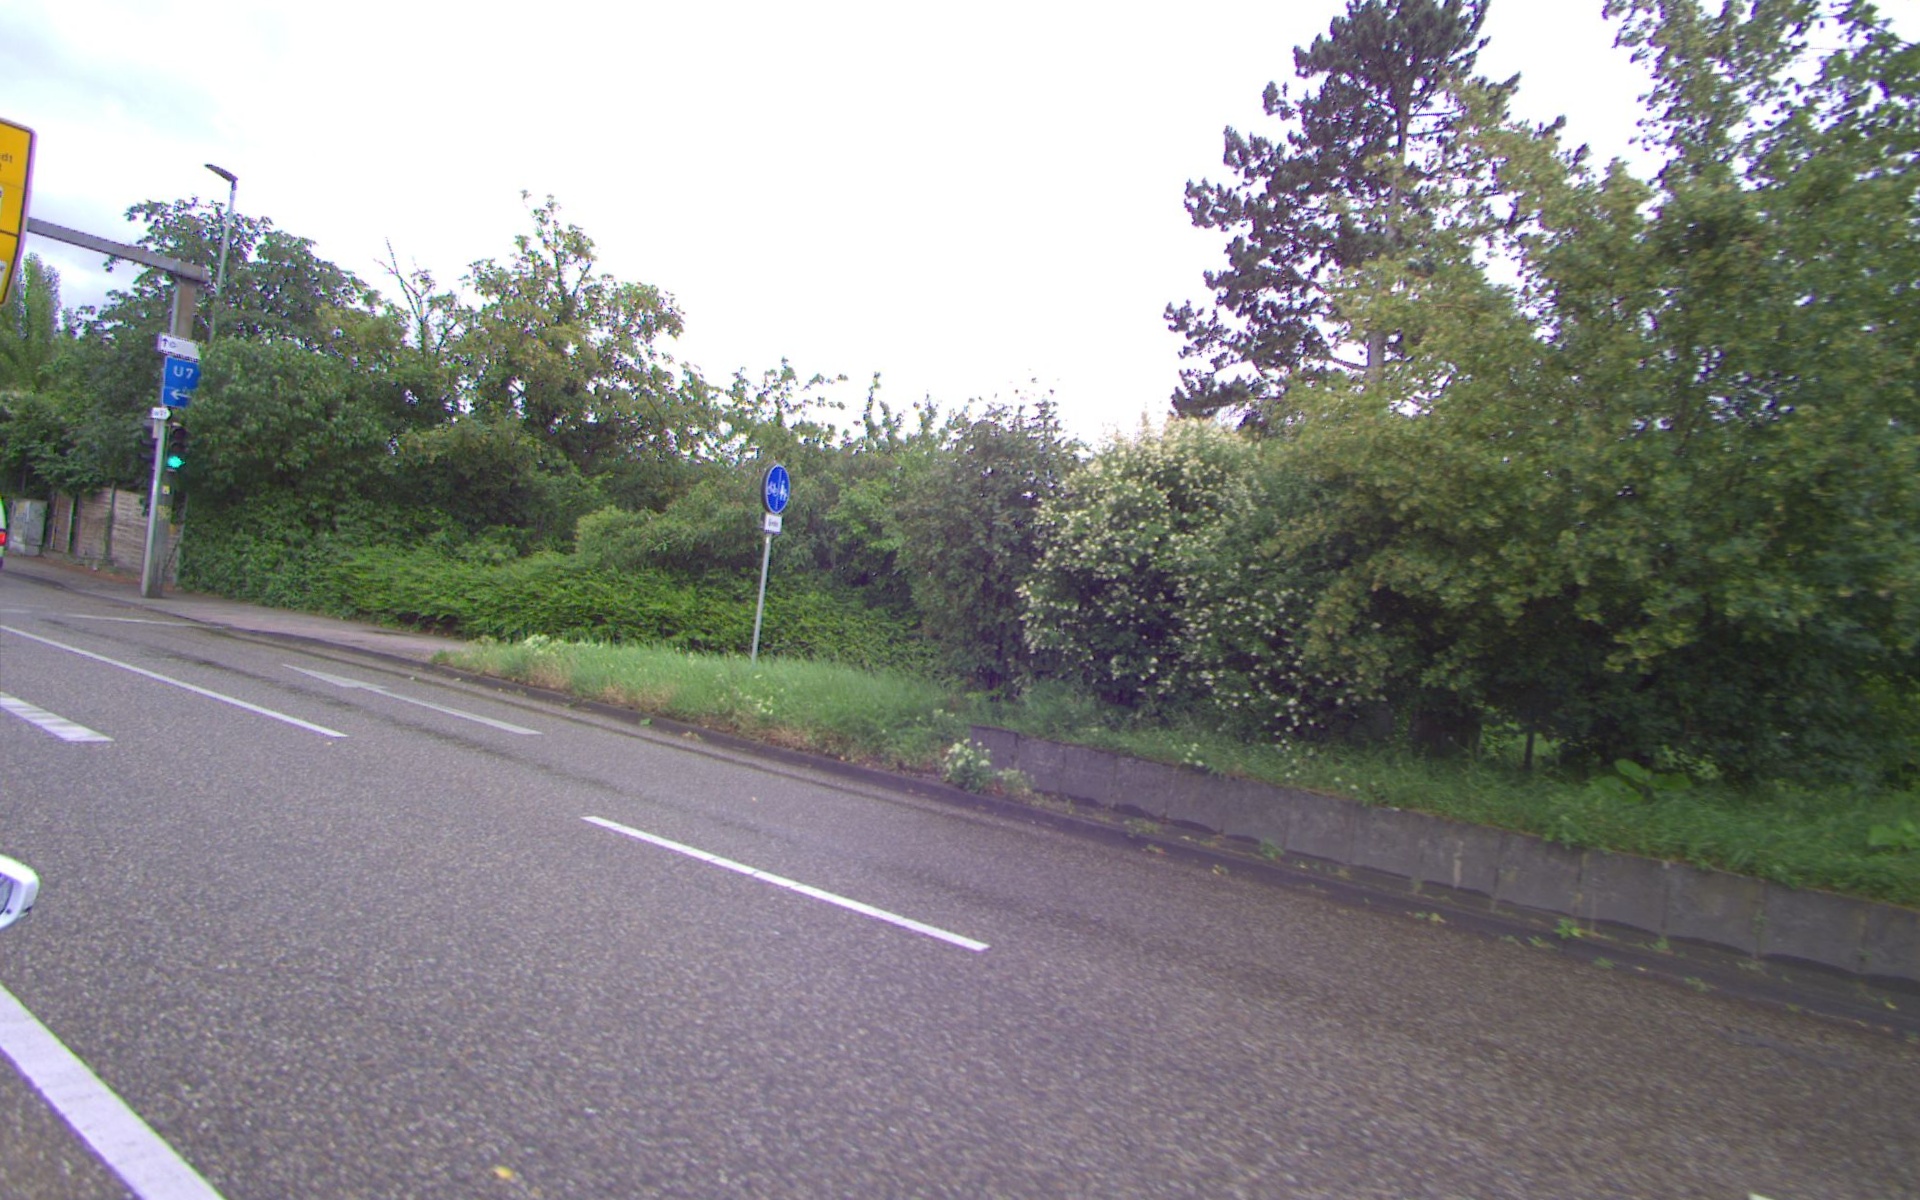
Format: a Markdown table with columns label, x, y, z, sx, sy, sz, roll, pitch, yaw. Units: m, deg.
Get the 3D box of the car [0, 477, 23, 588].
| label | x | y | z | sx | sy | sz | roll | pitch | yaw |
| --- | --- | --- | --- | --- | --- | --- | --- | --- | --- |
| car | -18.837 | -1.502 | 18.154 | 3.741 | 1.900 | 1.767 | 10 | 1 | 32 |
